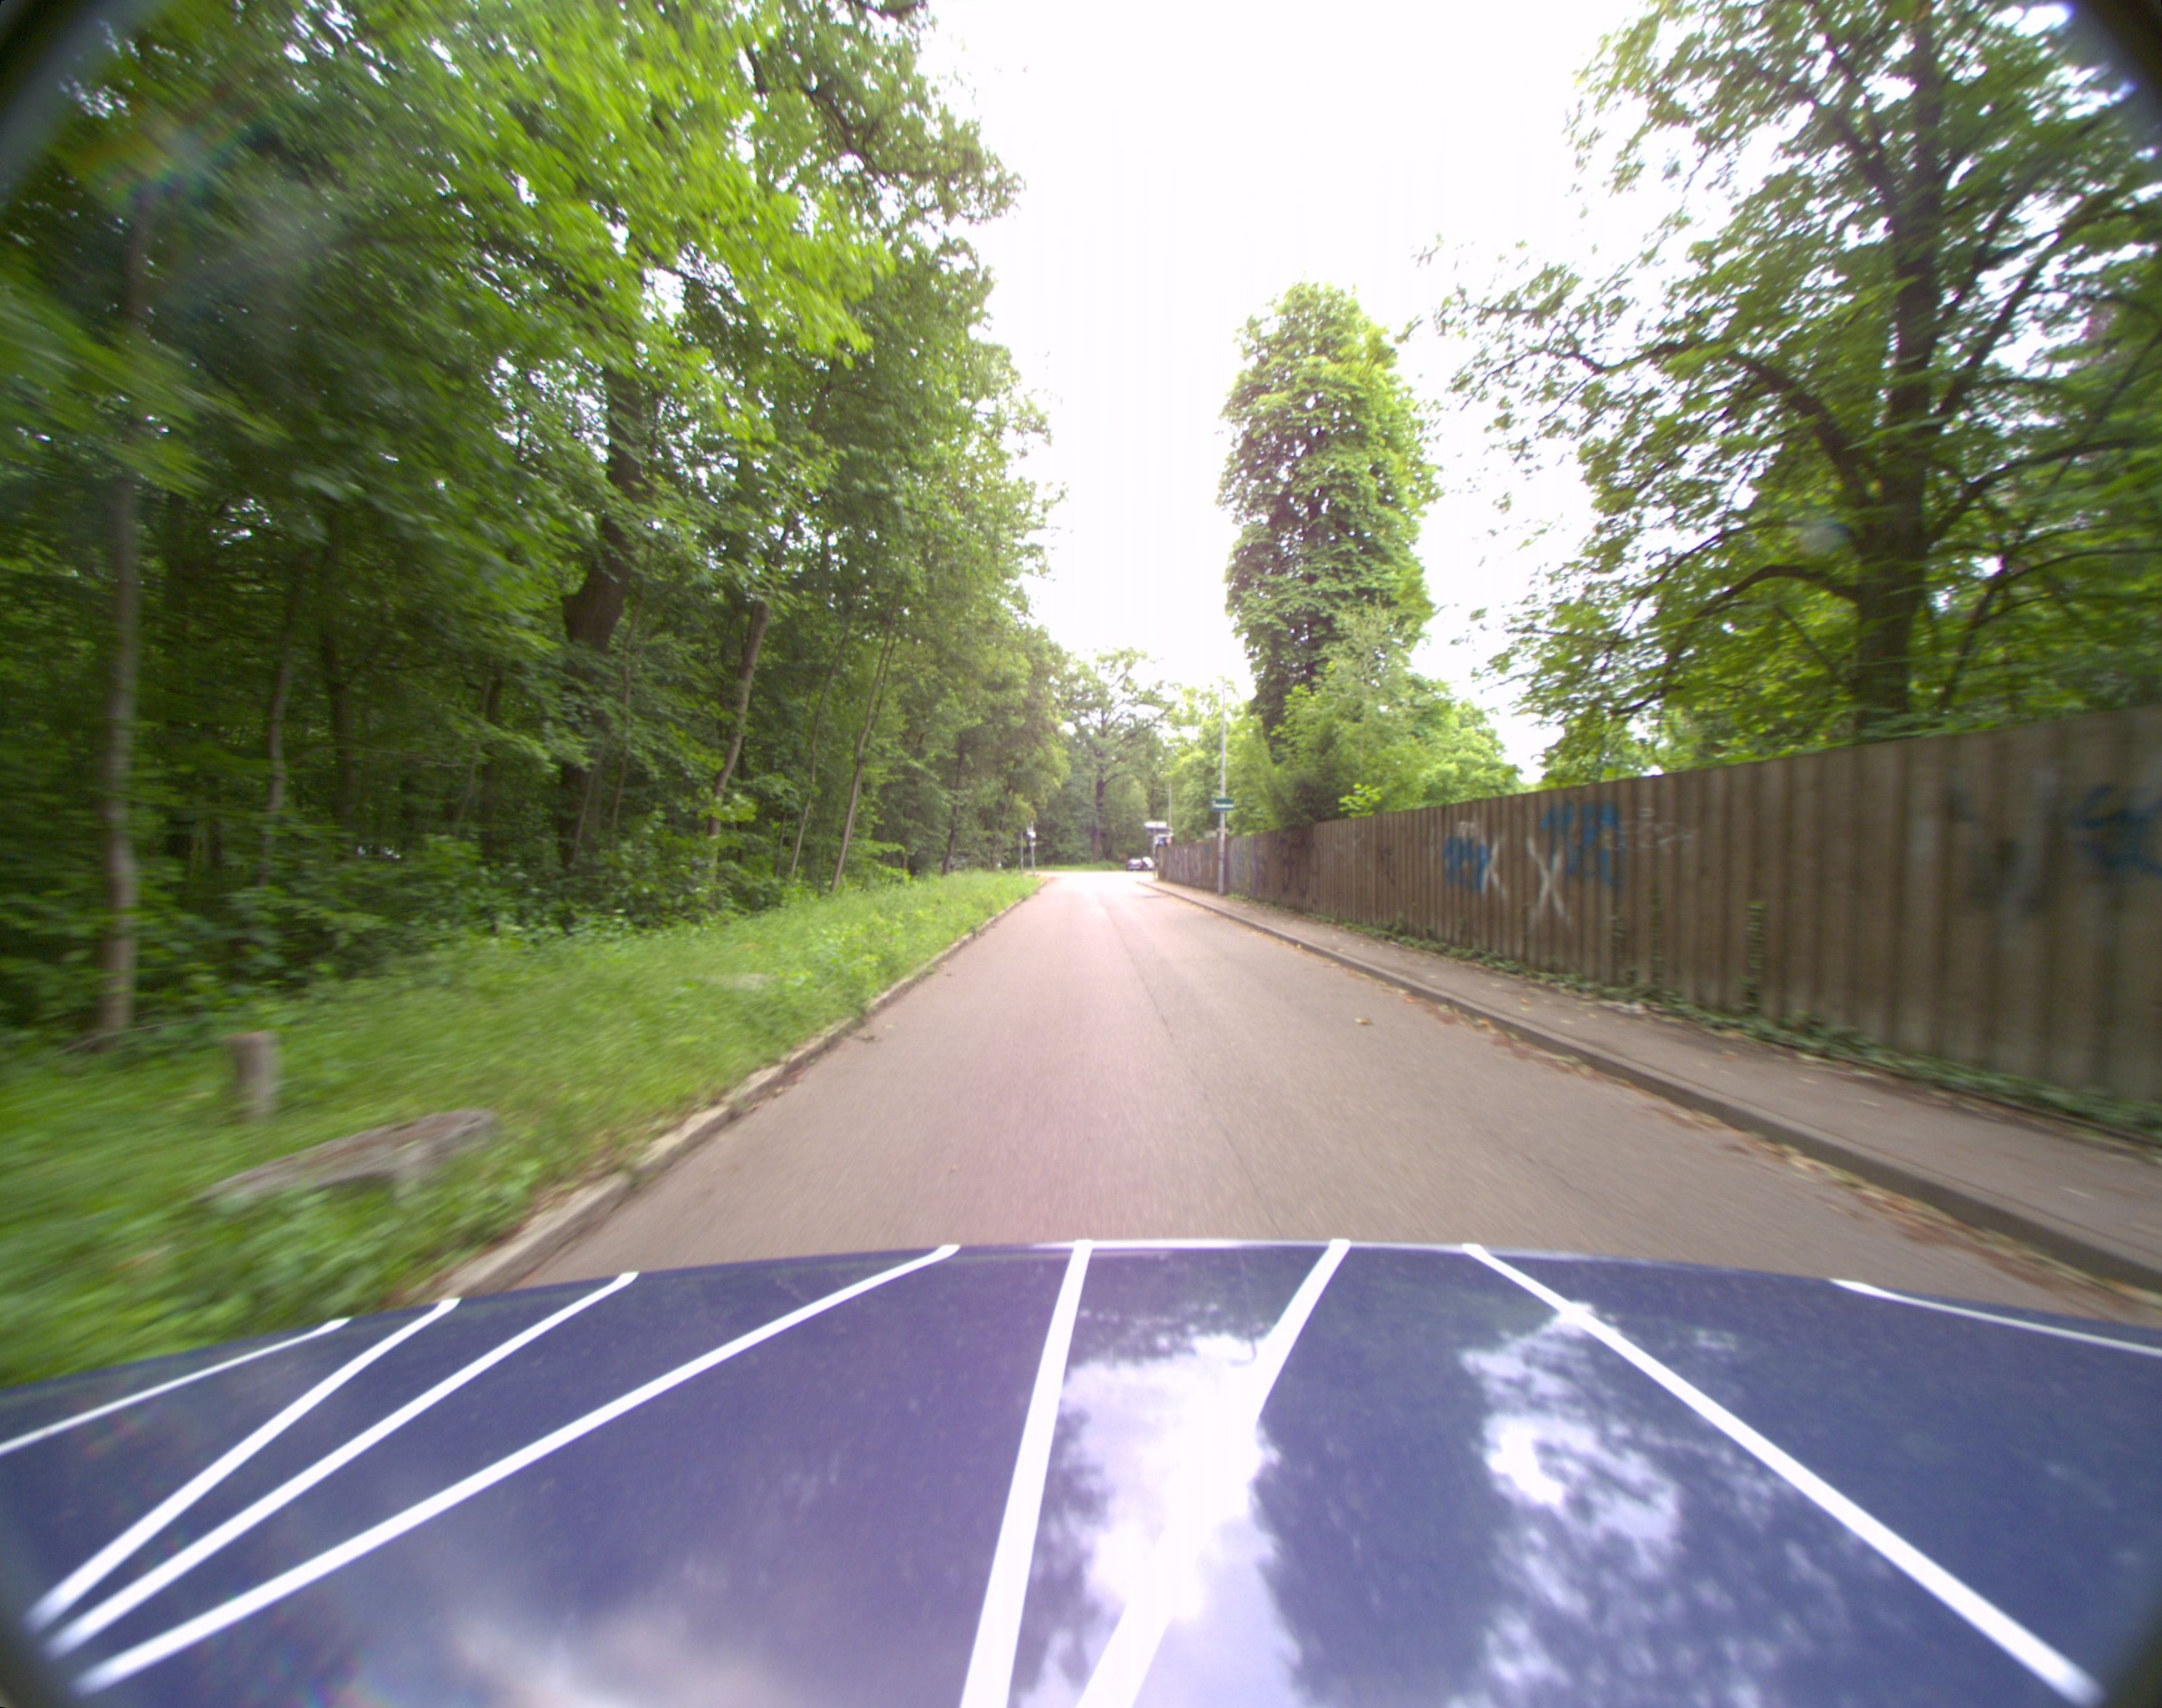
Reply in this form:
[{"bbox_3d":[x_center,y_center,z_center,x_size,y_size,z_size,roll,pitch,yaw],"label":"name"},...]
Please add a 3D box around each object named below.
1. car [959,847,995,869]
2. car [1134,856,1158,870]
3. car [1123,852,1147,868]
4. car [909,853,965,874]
[{"bbox_3d":[-9.731,0.384,71.249,1.887,1.966,4.522,1,0,13],"label":"car"},{"bbox_3d":[6.818,0.939,79.676,1.996,1.411,4.005,-1,-1,12],"label":"car"},{"bbox_3d":[5.370,0.542,74.892,1.769,1.486,4.331,0,0,12],"label":"car"},{"bbox_3d":[-11.770,0.781,62.308,4.093,1.624,1.817,1,1,10],"label":"car"}]
